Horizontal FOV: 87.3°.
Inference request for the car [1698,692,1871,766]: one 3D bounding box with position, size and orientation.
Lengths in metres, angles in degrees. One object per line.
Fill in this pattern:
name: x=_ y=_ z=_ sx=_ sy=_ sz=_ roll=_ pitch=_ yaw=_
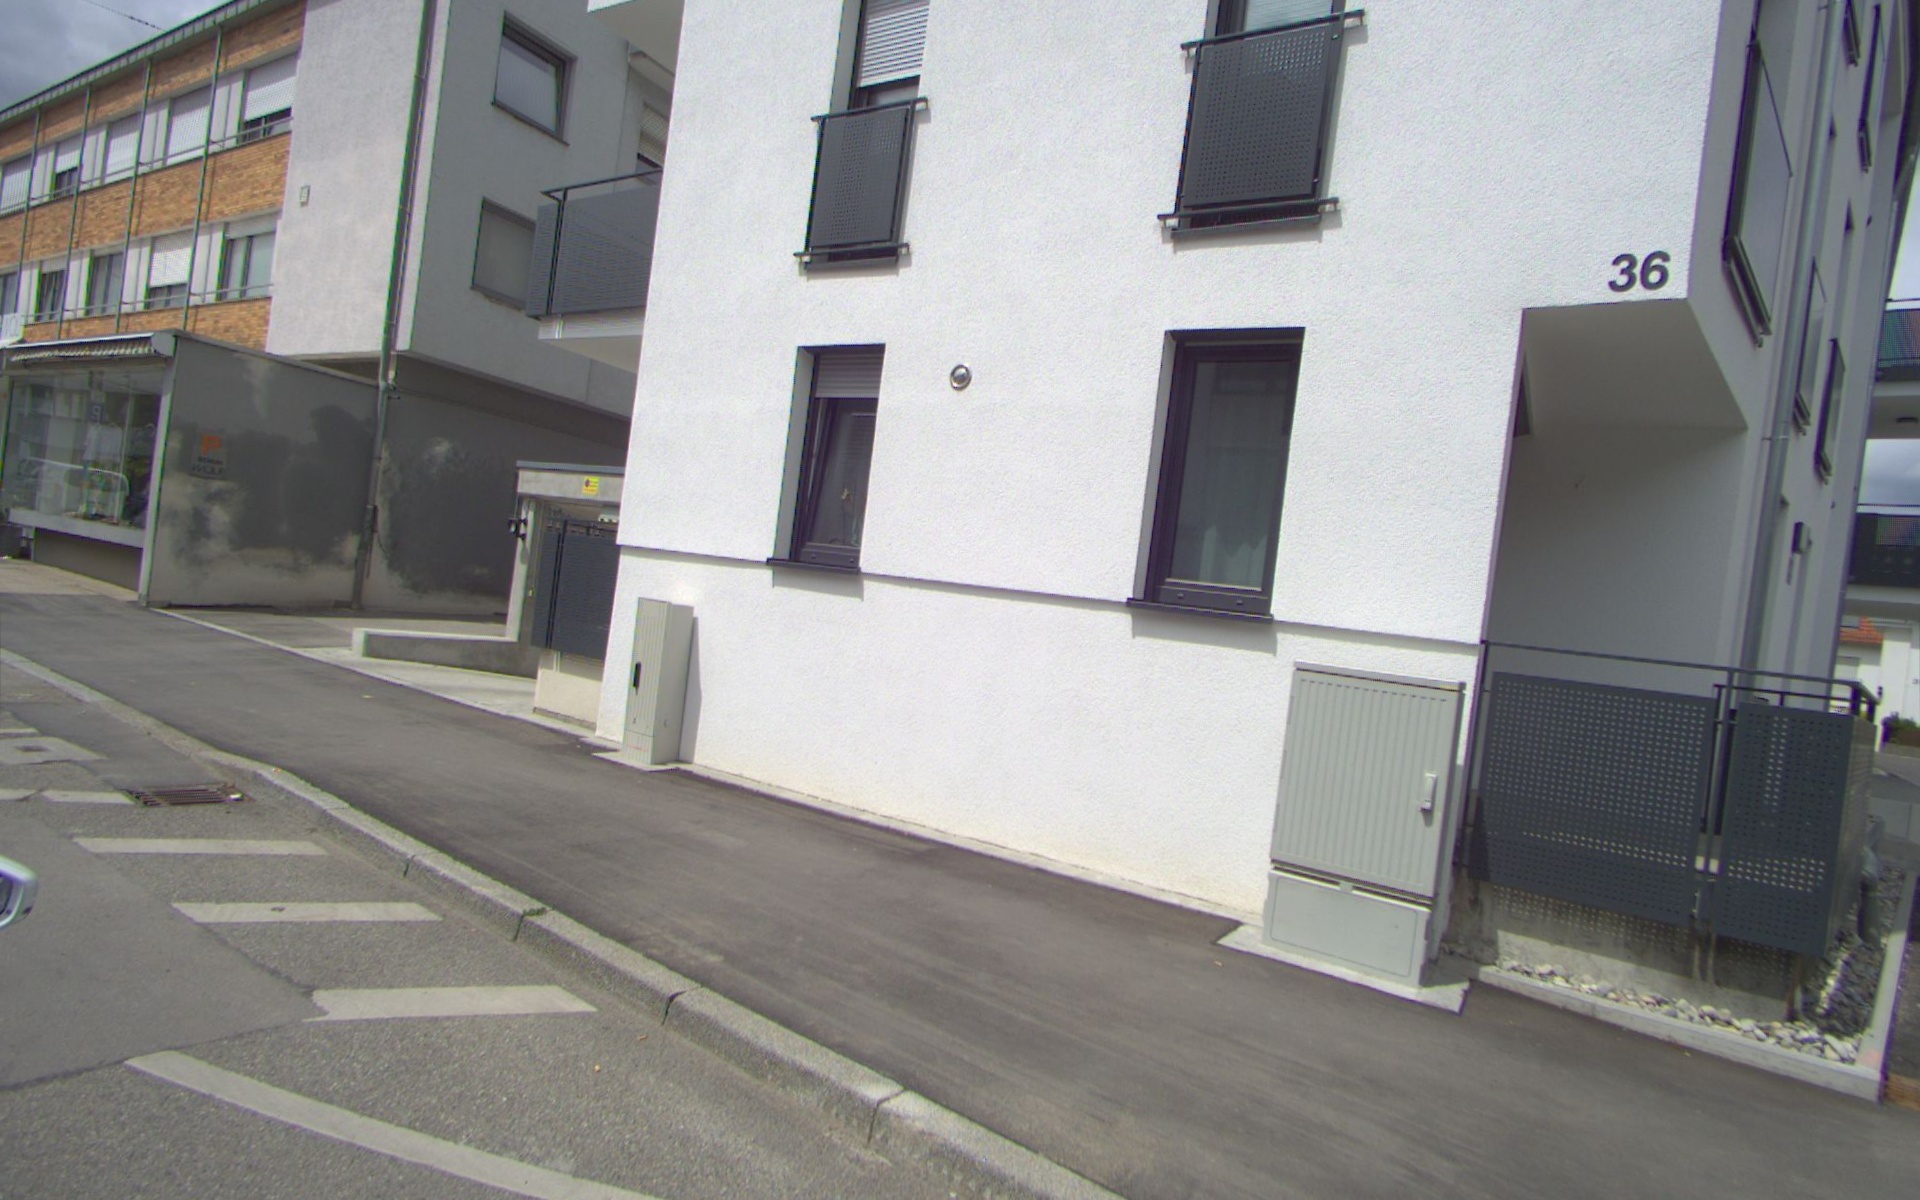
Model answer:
car: x=25.157 y=3.889 z=30.802 sx=3.880 sy=1.523 sz=1.690 roll=8 pitch=1 yaw=42
